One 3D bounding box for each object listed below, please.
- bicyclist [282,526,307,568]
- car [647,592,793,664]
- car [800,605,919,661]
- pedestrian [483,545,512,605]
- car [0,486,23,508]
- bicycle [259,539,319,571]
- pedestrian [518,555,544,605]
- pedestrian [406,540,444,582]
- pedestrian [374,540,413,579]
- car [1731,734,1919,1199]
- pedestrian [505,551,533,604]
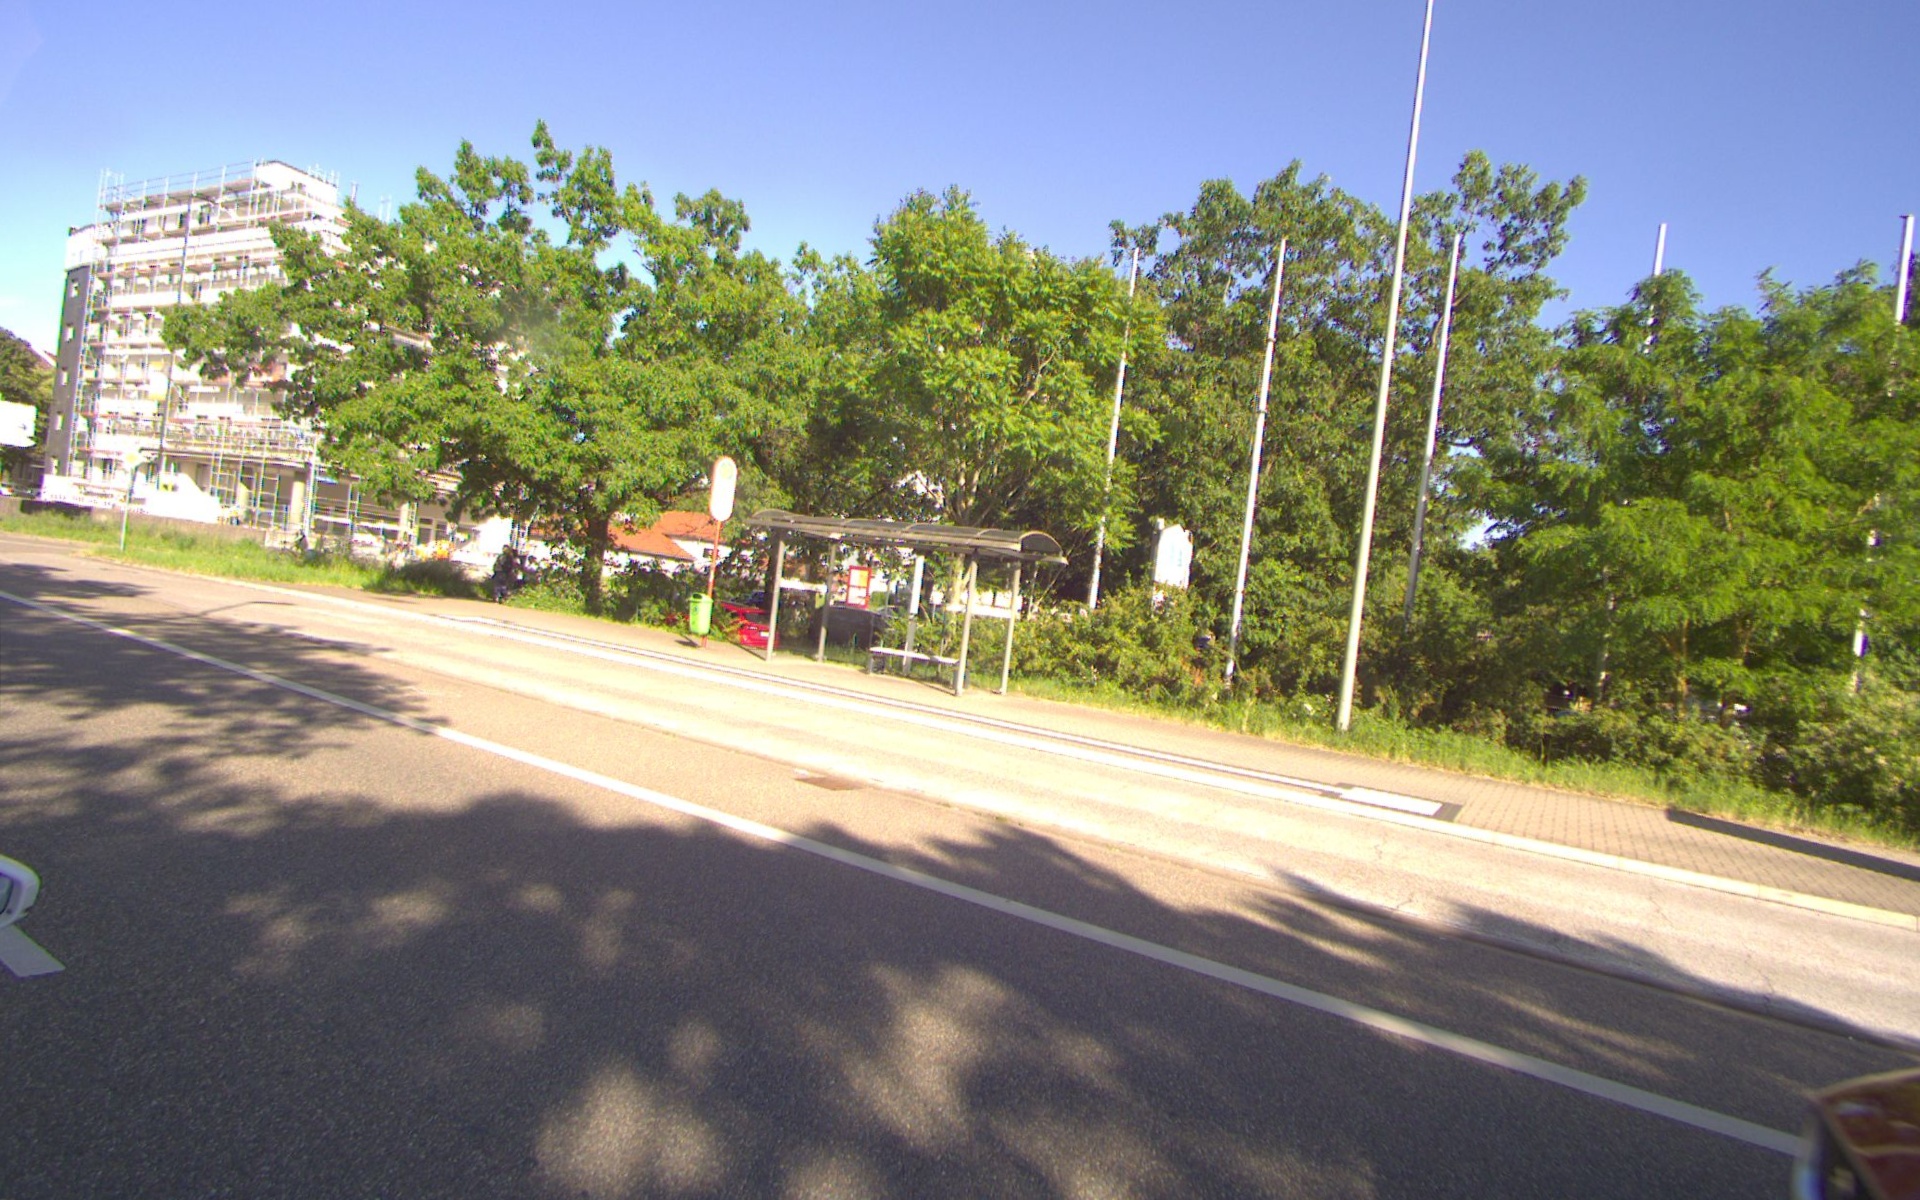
[{"bbox_3d":[-25.365,-2.009,38.322,0.582,1.511,0.543,7,1,-43],"label":"bicyclist"},{"bbox_3d":[-6.867,0.797,28.748,3.680,1.504,1.755,7,0,28],"label":"car"},{"bbox_3d":[-3.580,1.179,35.981,3.674,1.504,1.914,7,0,13],"label":"car"},{"bbox_3d":[-13.059,-0.705,28.409,0.517,1.632,0.587,7,1,-32],"label":"pedestrian"},{"bbox_3d":[-66.606,-7.208,70.159,1.521,1.330,3.250,7,0,-40],"label":"car"},{"bbox_3d":[-25.511,-1.718,38.263,1.784,0.956,0.553,8,0,-44],"label":"bicycle"},{"bbox_3d":[-13.382,-0.628,31.355,0.517,1.465,0.587,7,1,-32],"label":"pedestrian"},{"bbox_3d":[-23.312,-1.694,43.833,0.969,1.674,0.891,7,0,21],"label":"pedestrian"},{"bbox_3d":[-23.986,-1.698,42.619,0.948,1.465,0.895,7,0,17],"label":"pedestrian"},{"bbox_3d":[3.684,1.262,0.999,4.313,1.445,1.890,8,-1,32],"label":"car"},{"bbox_3d":[-12.787,-0.652,29.180,0.517,1.465,0.587,7,1,-32],"label":"pedestrian"}]
